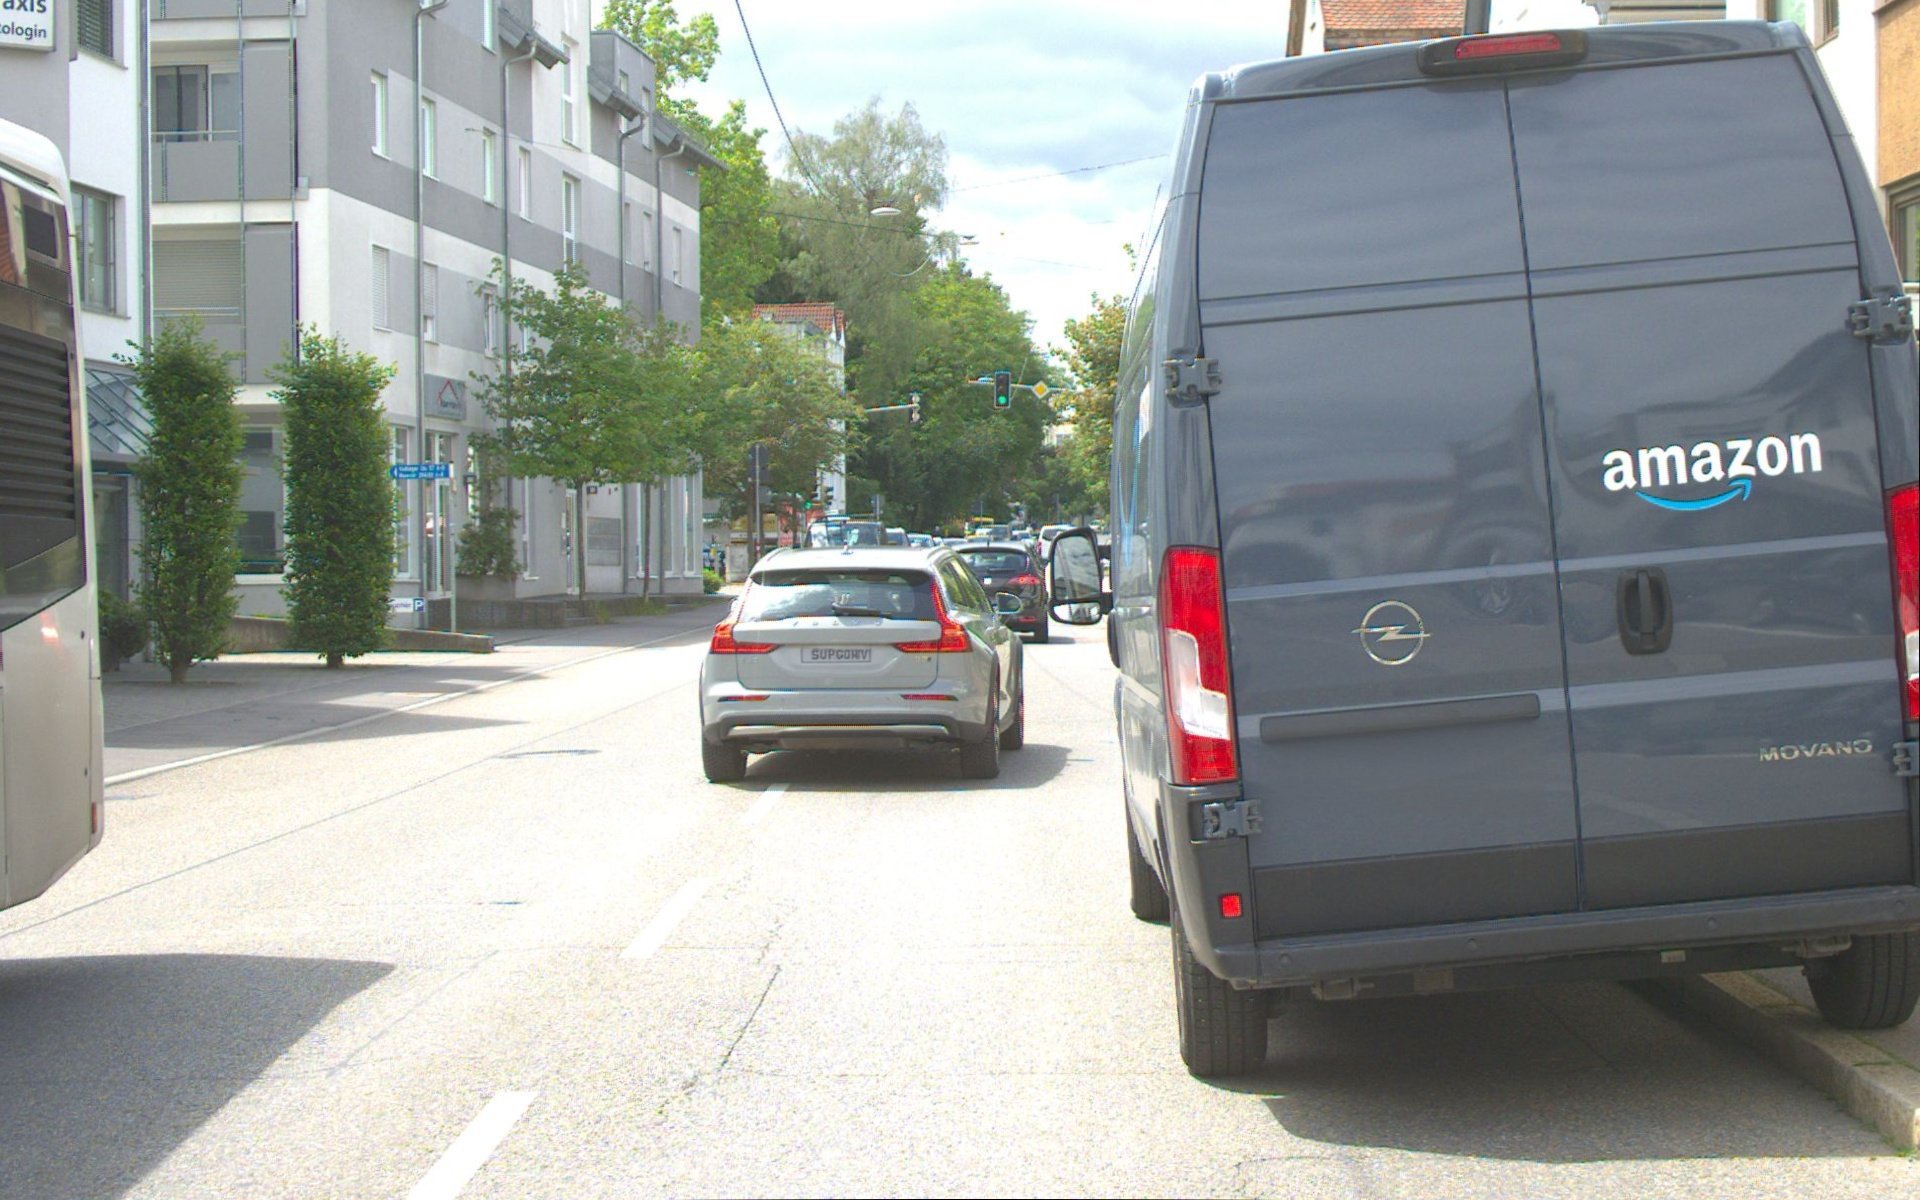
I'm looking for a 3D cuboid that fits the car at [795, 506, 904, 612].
[{"bbox_3d":[-2.354,-0.910,74.417,2.105,2.114,4.766,-3,1,0],"label":"car"}]

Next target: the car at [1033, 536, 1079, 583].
[{"bbox_3d":[4.260,-1.801,151.950,1.993,2.007,4.000,-1,1,2],"label":"car"}]

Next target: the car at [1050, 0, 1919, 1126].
[{"bbox_3d":[1.537,-0.171,11.223,2.252,2.786,5.569,-1,1,0],"label":"car"}]

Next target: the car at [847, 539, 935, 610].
[{"bbox_3d":[-1.701,-0.663,86.244,2.105,1.704,4.766,-1,1,0],"label":"car"}]

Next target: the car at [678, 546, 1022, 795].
[{"bbox_3d":[-0.626,0.392,22.653,1.896,1.448,3.968,-1,1,3],"label":"car"}]

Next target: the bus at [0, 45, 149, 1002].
[{"bbox_3d":[-4.469,-0.210,9.450,2.715,3.153,8.069,-1,1,-2],"label":"bus"}]

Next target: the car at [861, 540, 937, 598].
[{"bbox_3d":[-1.733,-0.912,98.834,2.105,1.590,4.650,-1,1,0],"label":"car"}]

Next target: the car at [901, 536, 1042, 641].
[{"bbox_3d":[0.208,-0.197,50.280,1.896,1.441,3.968,-1,1,2],"label":"car"}]

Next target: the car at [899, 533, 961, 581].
[{"bbox_3d":[-1.036,-1.502,119.543,2.105,1.590,4.650,-1,1,0],"label":"car"}]
